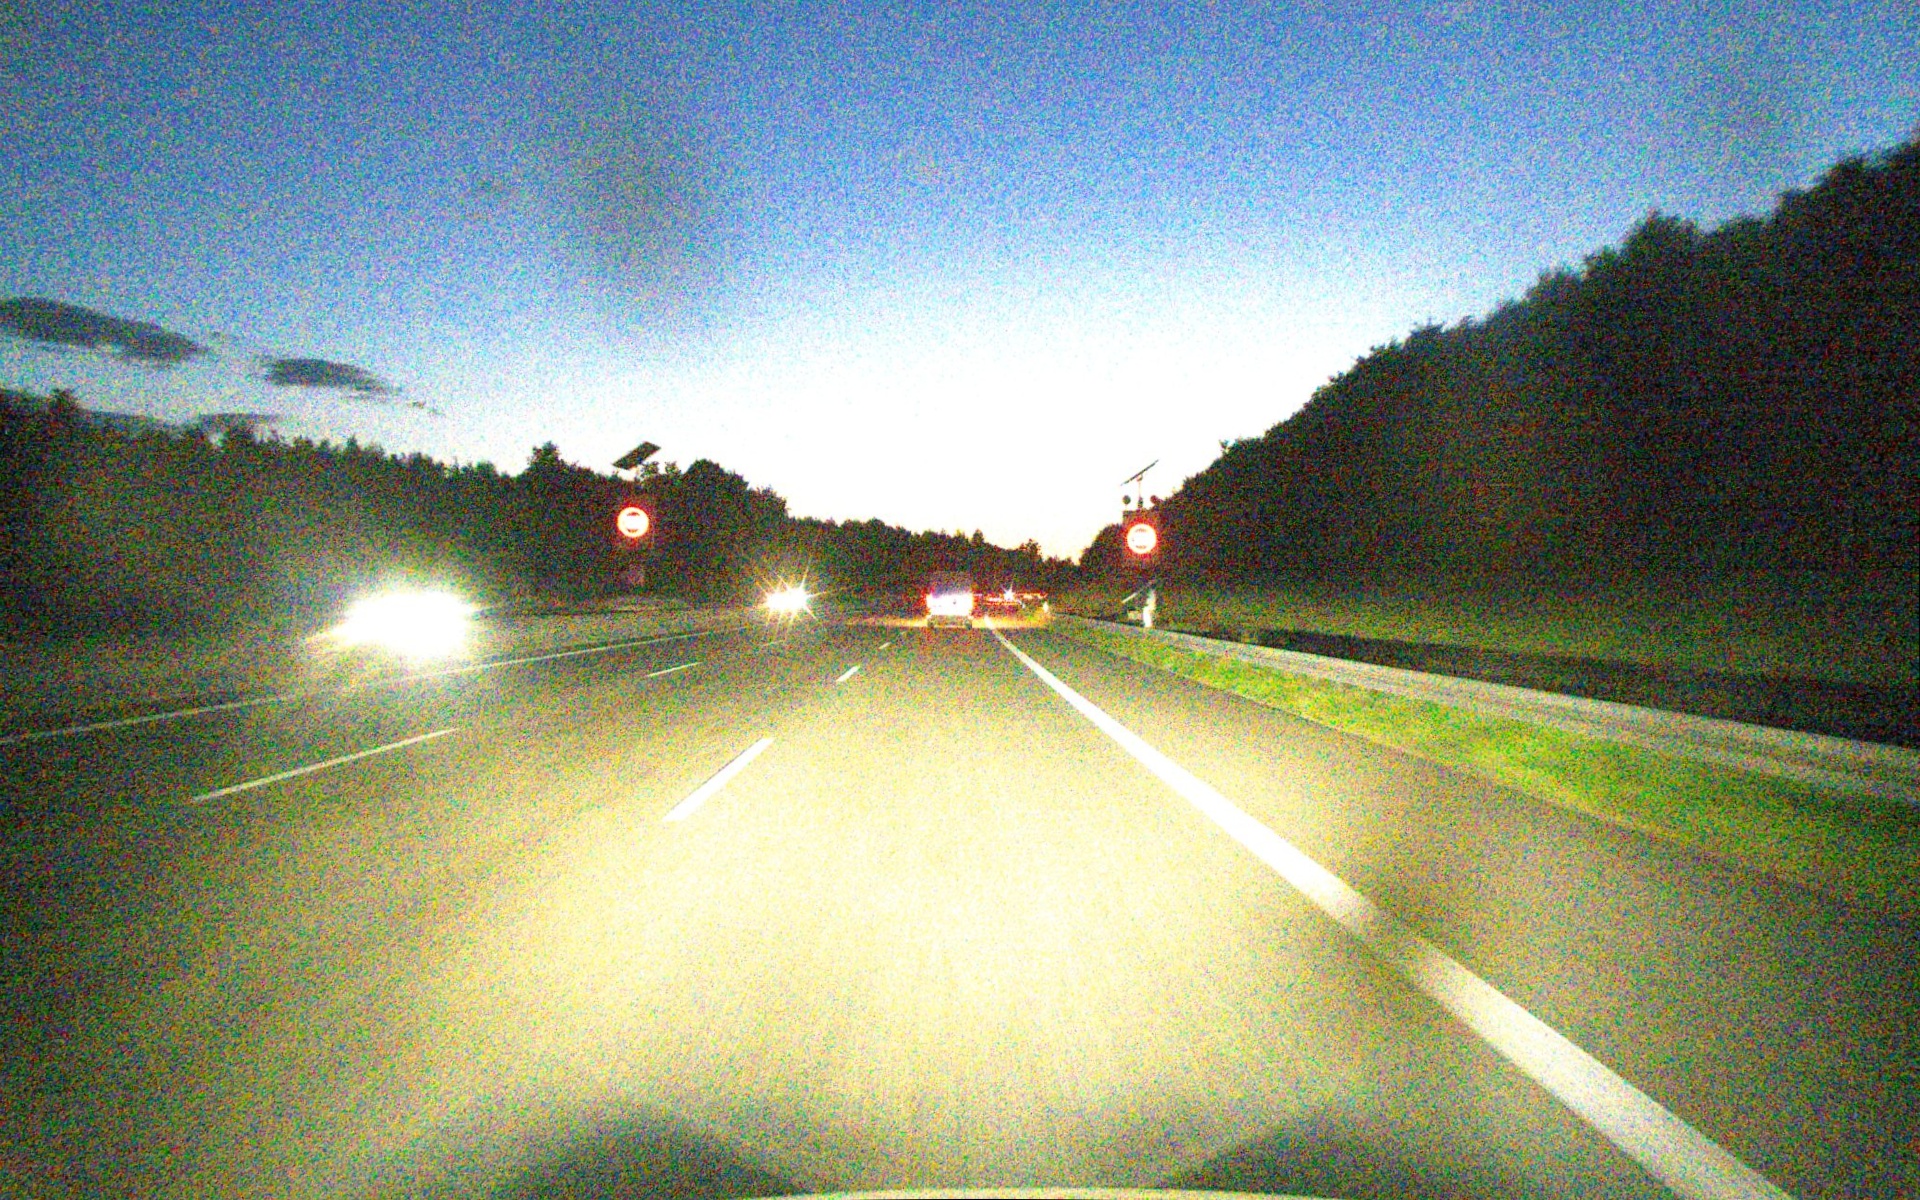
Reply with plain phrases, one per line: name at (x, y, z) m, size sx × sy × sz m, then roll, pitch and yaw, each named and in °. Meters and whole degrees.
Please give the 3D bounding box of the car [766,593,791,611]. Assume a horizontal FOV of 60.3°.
car at (-17.668, 0.197, 160.990) m, size 1.953 × 1.630 × 4.212 m, roll 1°, pitch 0°, yaw 0°

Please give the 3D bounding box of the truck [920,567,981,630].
truck at (-0.467, -0.029, 75.932) m, size 2.577 × 2.670 × 8.683 m, roll 1°, pitch 0°, yaw -1°

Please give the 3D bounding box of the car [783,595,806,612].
car at (-20.134, 0.459, 201.880) m, size 1.984 × 2.049 × 5.189 m, roll 1°, pitch 0°, yaw 3°

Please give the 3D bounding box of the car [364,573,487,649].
car at (-15.225, 0.304, 47.364) m, size 1.952 × 2.049 × 4.605 m, roll 1°, pitch 0°, yaw 1°
